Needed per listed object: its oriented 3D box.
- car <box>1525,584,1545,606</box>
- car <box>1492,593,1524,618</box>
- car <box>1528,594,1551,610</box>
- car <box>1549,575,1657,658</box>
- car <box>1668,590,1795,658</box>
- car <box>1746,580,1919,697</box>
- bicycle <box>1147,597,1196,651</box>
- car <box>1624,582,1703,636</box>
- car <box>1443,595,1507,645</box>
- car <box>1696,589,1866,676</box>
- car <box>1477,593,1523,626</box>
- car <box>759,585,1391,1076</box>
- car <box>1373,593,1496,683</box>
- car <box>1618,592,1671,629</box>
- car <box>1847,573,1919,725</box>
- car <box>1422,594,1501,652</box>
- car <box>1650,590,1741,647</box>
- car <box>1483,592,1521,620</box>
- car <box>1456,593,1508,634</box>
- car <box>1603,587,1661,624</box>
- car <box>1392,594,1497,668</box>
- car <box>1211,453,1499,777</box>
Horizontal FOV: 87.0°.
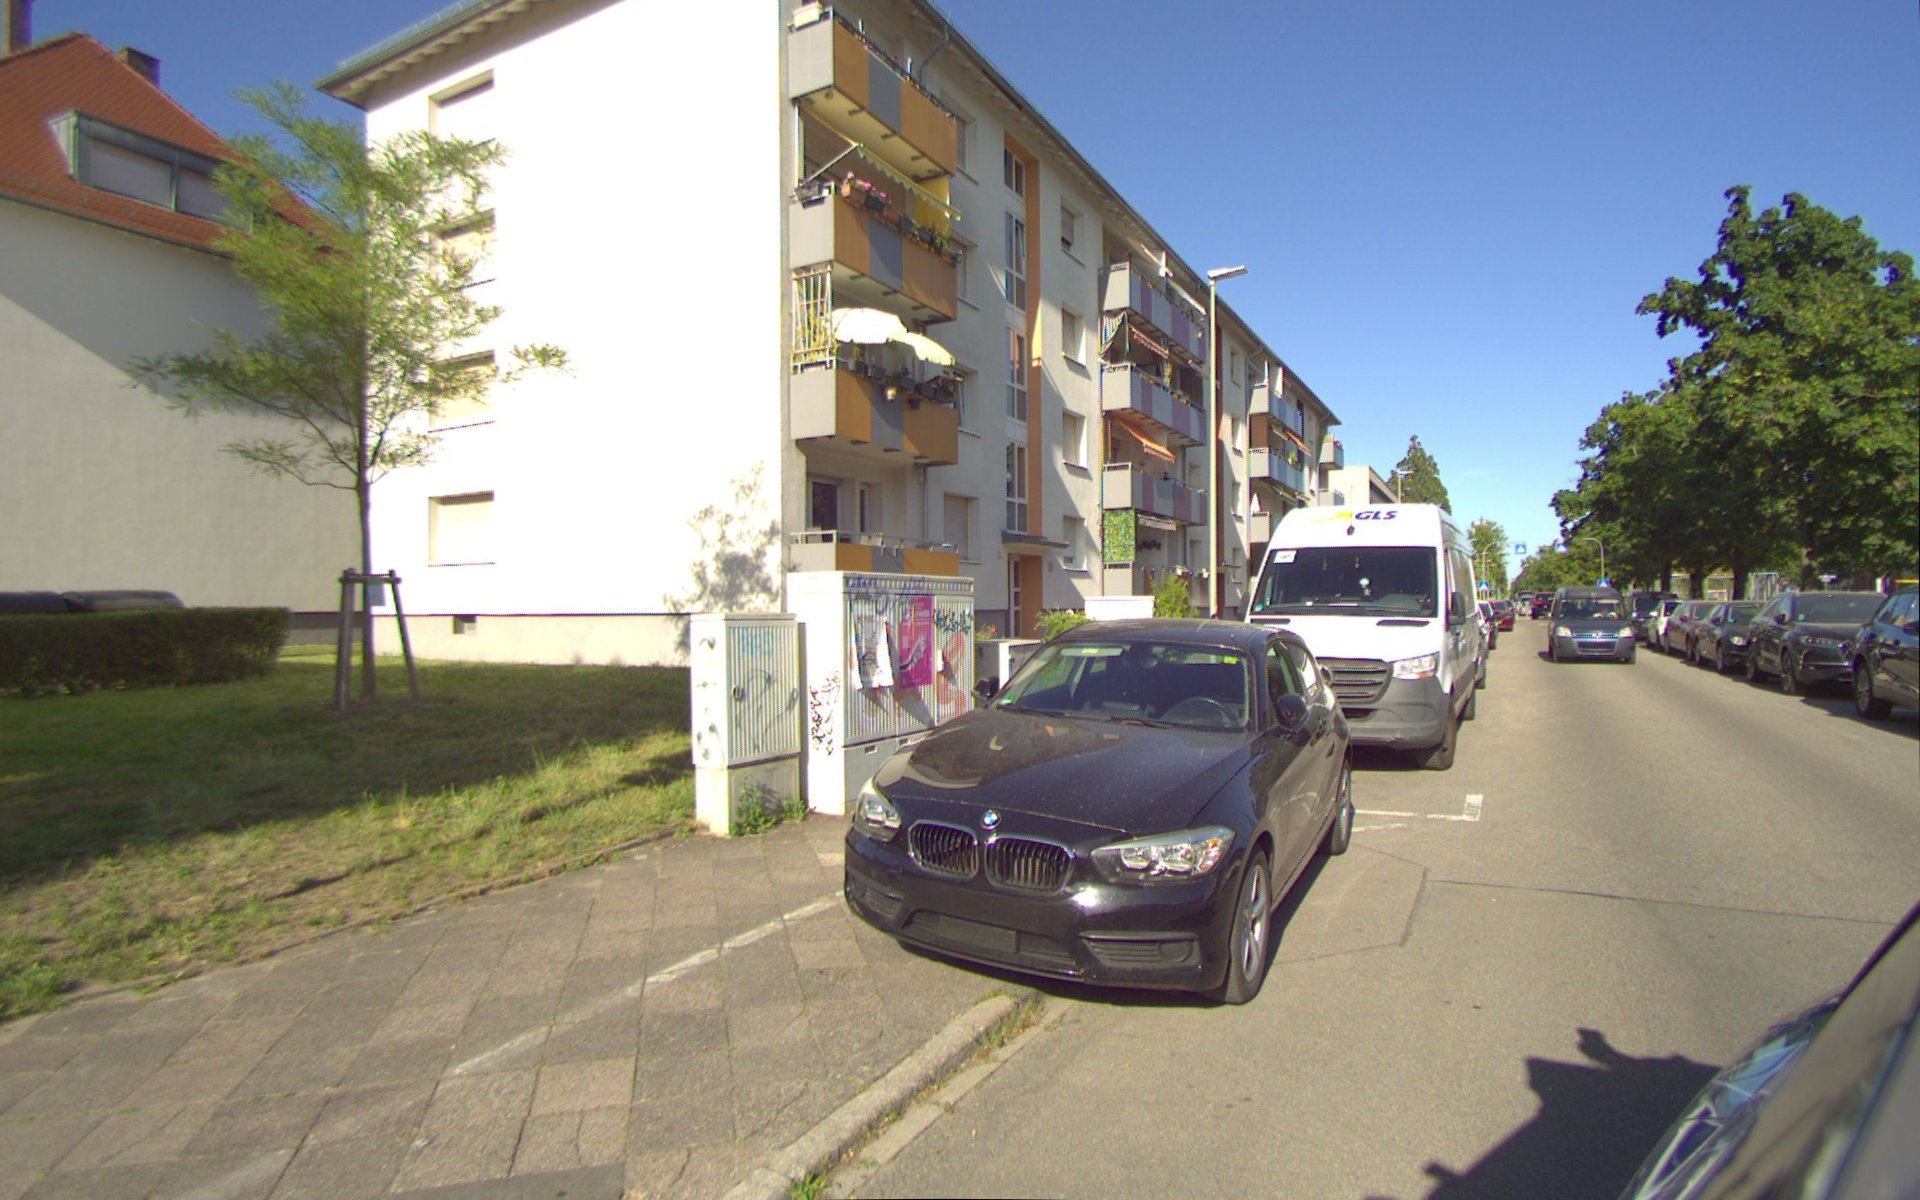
[{"bbox_3d":[71.216,-0.634,125.321,2.058,2.631,6.135,-1,0,30],"label":"car"},{"bbox_3d":[34.179,0.335,63.078,1.649,1.493,3.753,-3,-1,29],"label":"car"},{"bbox_3d":[50.673,0.180,88.447,1.640,1.349,4.881,-1,0,30],"label":"car"},{"bbox_3d":[15.295,0.377,24.264,1.887,1.813,4.114,-1,-1,29],"label":"car"},{"bbox_3d":[19.122,0.530,25.273,1.745,1.511,4.622,1,1,28],"label":"car"},{"bbox_3d":[14.325,0.529,16.387,1.810,1.630,4.690,1,1,29],"label":"car"},{"bbox_3d":[5.164,0.569,24.643,0.592,1.191,1.994,-1,1,28],"label":"bicycle"},{"bbox_3d":[25.463,0.269,36.755,1.854,1.807,4.940,-1,1,29],"label":"car"},{"bbox_3d":[16.435,0.568,32.273,1.689,1.453,4.428,1,1,28],"label":"car"},{"bbox_3d":[16.661,0.567,20.786,1.862,1.538,4.426,2,1,28],"label":"car"},{"bbox_3d":[26.167,0.444,49.018,1.832,1.491,5.014,-1,0,29],"label":"car"},{"bbox_3d":[1.094,0.694,5.580,1.947,1.500,4.454,1,1,28],"label":"car"},{"bbox_3d":[8.931,0.647,18.901,1.837,1.484,4.160,-2,-1,28],"label":"car"},{"bbox_3d":[28.376,0.397,42.029,1.530,1.446,4.044,-1,0,30],"label":"car"},{"bbox_3d":[11.532,0.543,11.041,1.833,1.659,4.666,1,1,29],"label":"car"},{"bbox_3d":[13.743,0.559,27.623,1.712,1.454,4.109,0,0,29],"label":"car"},{"bbox_3d":[21.132,0.488,29.192,1.577,1.511,3.649,1,1,28],"label":"car"},{"bbox_3d":[31.336,0.326,58.469,1.761,1.549,4.508,-1,0,30],"label":"car"},{"bbox_3d":[20.455,0.483,39.759,1.736,1.518,3.826,0,0,26],"label":"car"},{"bbox_3d":[31.422,0.221,47.433,2.016,1.646,4.706,1,1,30],"label":"car"},{"bbox_3d":[11.091,0.630,23.011,1.868,1.494,4.097,0,0,30],"label":"car"},{"bbox_3d":[5.038,0.089,12.049,2.132,2.747,6.767,1,1,31],"label":"car"}]
